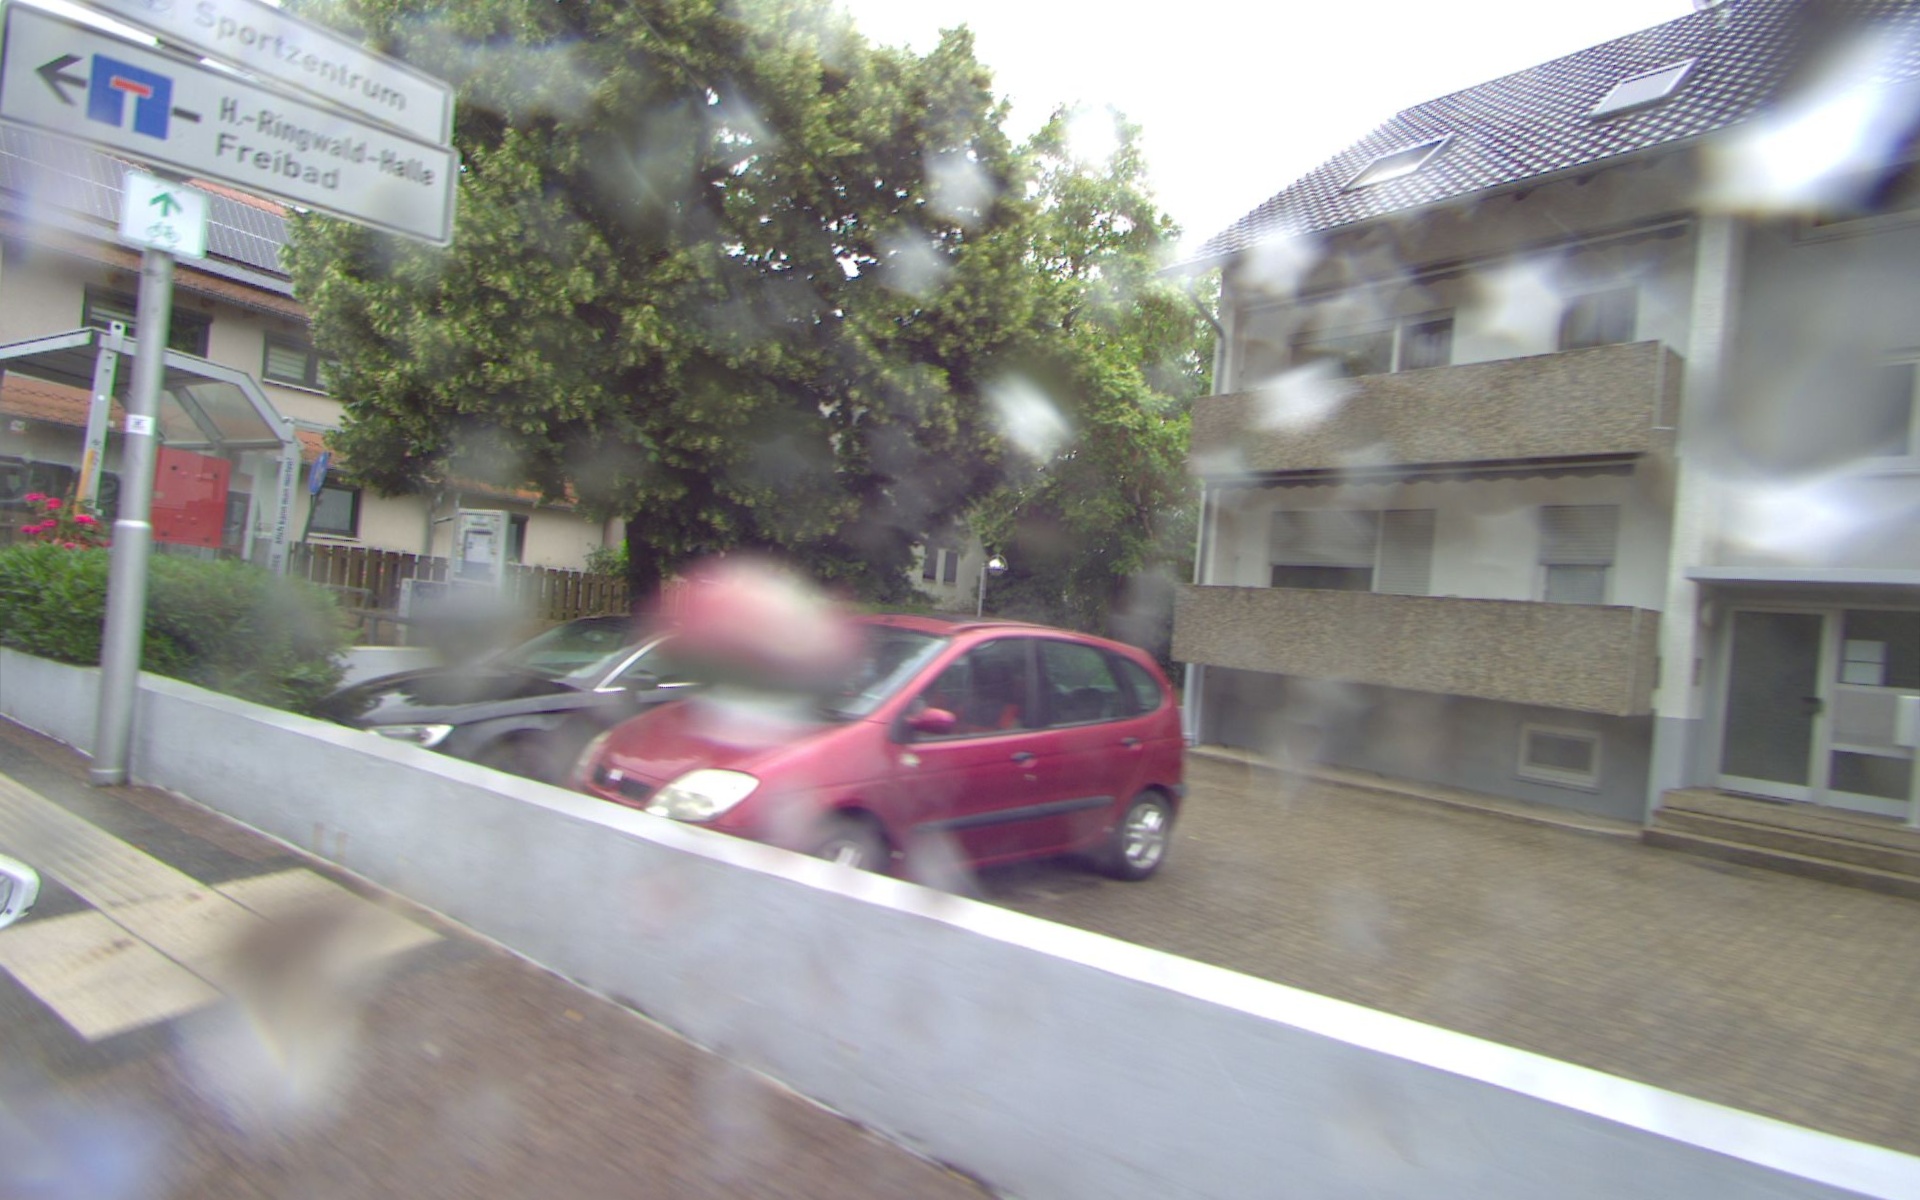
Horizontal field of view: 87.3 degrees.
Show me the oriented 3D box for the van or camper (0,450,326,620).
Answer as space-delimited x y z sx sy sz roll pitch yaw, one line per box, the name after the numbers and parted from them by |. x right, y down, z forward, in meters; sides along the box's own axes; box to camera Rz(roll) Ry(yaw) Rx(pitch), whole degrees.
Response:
-12.895 -0.953 15.328 1.844 1.945 5.082 6 -2 28 | van or camper

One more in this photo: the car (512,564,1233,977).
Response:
-0.267 0.854 6.172 4.056 1.609 1.834 7 -1 -44 | car

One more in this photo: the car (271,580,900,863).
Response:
-2.472 0.783 7.438 1.726 1.396 3.947 7 0 39 | car

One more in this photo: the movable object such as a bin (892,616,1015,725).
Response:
-0.081 1.009 14.415 1.136 1.374 1.243 7 -1 33 | movable object such as a bin
